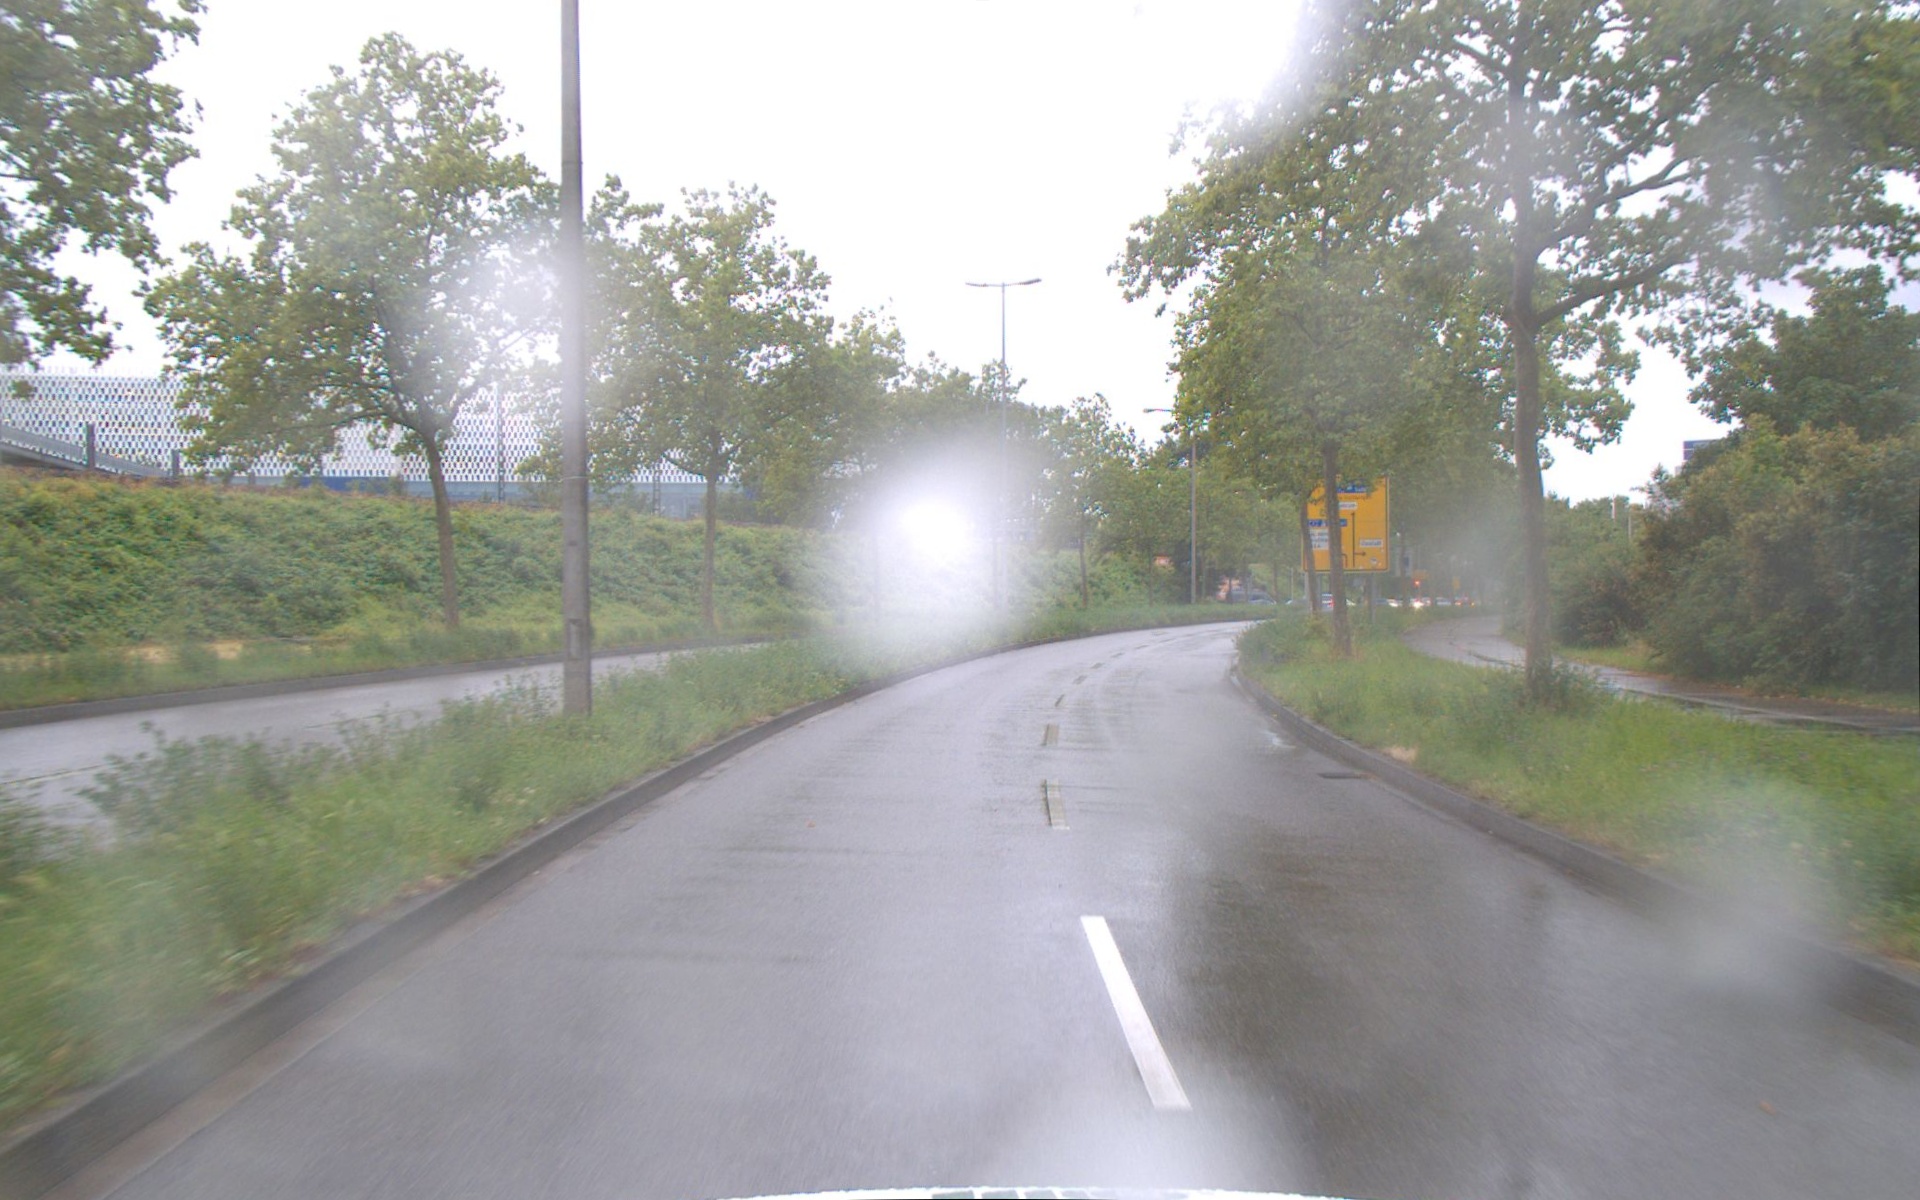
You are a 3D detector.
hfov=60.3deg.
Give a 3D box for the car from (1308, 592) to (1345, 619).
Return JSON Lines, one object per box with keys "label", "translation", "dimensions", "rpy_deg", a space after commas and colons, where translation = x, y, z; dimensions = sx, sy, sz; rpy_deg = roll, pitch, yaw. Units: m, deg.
{"label": "car", "translation": [22.699, 0.352, 102.381], "dimensions": [1.742, 1.583, 4.001], "rpy_deg": [1, 0, 19]}
